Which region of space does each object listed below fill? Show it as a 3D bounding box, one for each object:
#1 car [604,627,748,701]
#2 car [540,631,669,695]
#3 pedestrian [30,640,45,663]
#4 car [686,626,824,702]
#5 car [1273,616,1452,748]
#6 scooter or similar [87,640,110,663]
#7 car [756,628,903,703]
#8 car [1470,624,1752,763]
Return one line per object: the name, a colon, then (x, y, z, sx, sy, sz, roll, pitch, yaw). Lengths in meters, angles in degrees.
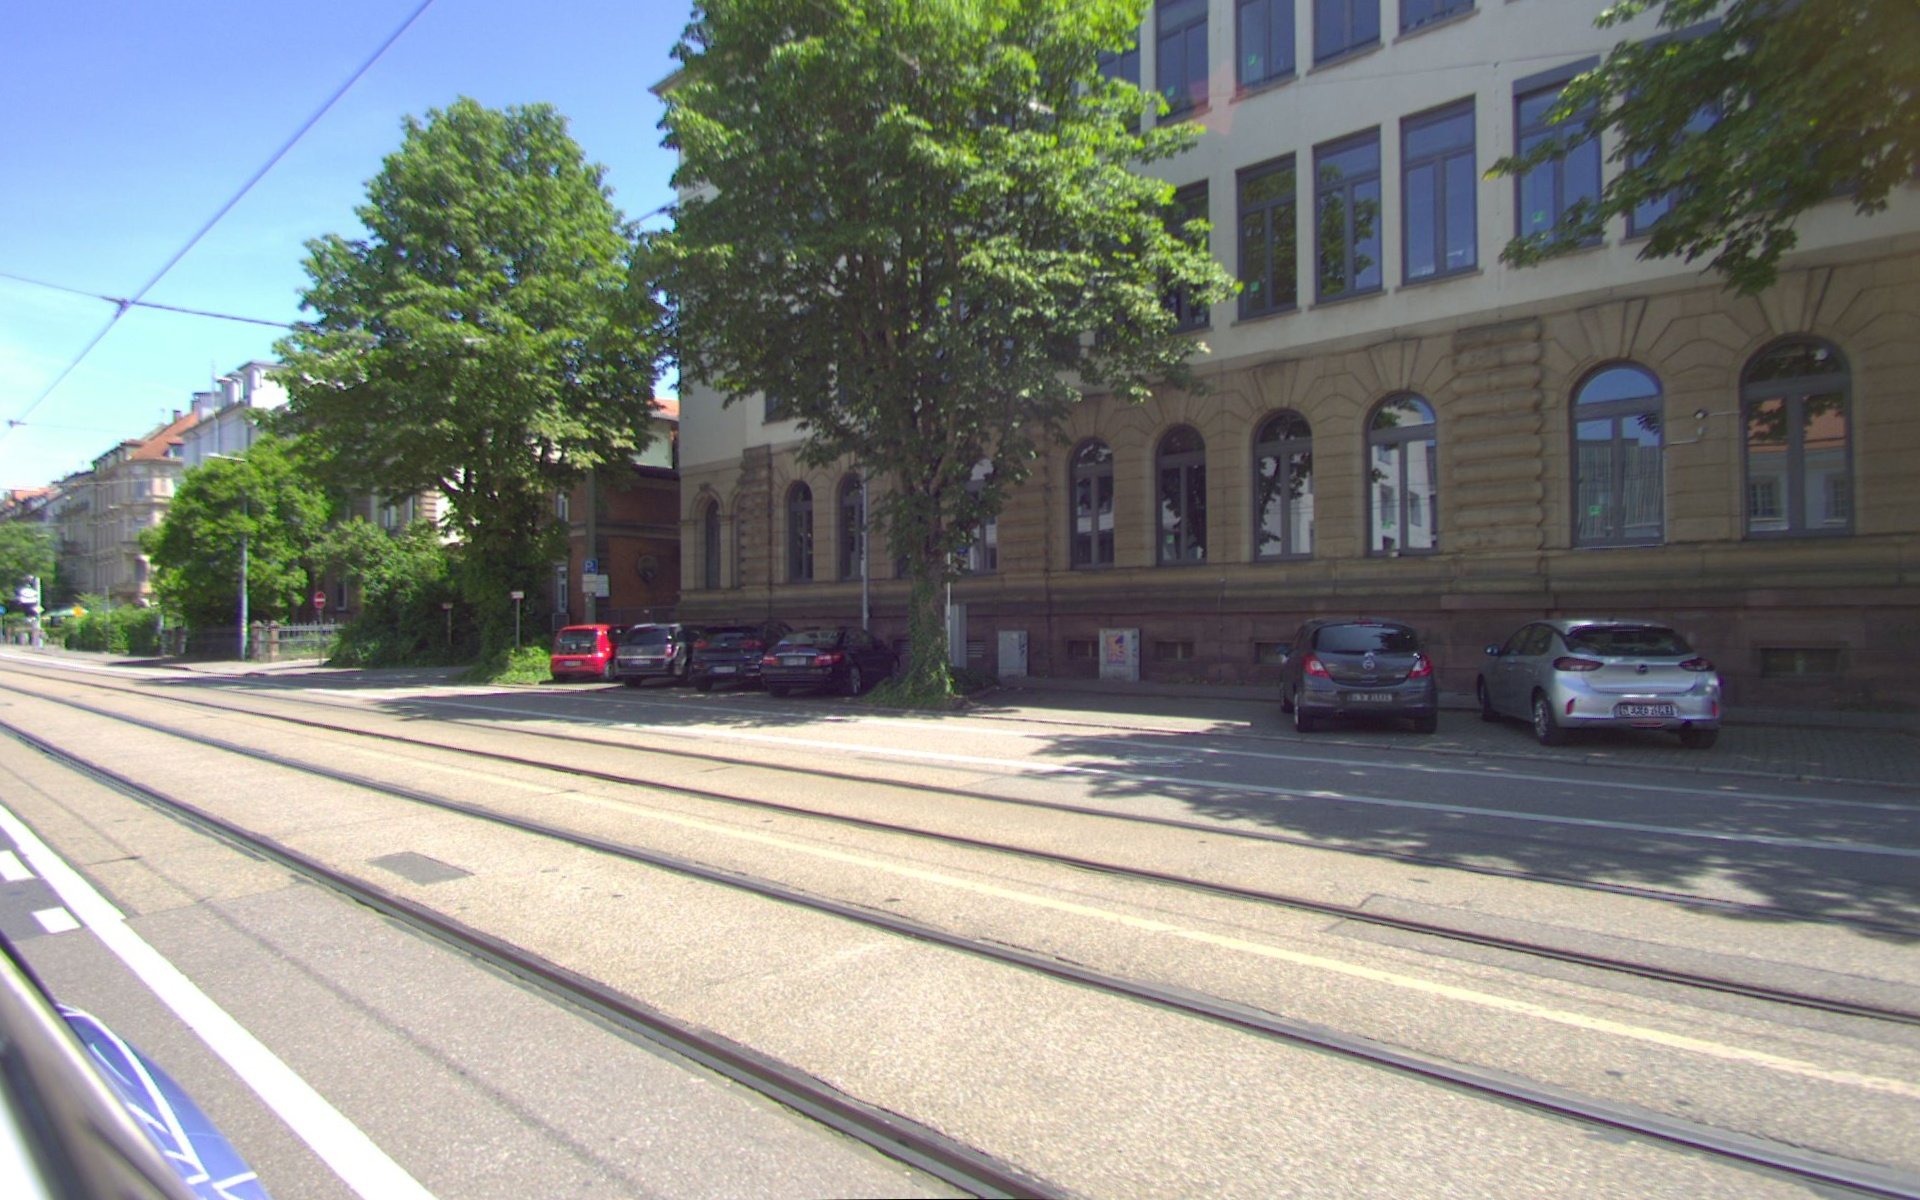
car: (-6.862, 1.506, 24.939, 1.652, 1.596, 4.307, -1, -1, 11)
car: (-9.347, 1.631, 26.859, 1.654, 1.527, 3.336, -2, -1, 15)
pedestrian: (-68.634, 3.842, 75.267, 0.939, 1.654, 0.732, -3, -3, 43)
car: (-4.580, 1.417, 23.133, 1.775, 1.589, 3.804, -1, -2, 11)
car: (5.368, 1.013, 13.926, 1.652, 1.531, 3.662, -1, -1, 12)
scooter or similar: (-54.221, 3.236, 63.702, 0.597, 1.462, 0.998, -2, -2, 40)
car: (-2.570, 1.319, 20.869, 1.654, 1.385, 3.914, -2, -3, 15)
car: (7.637, 1.018, 12.290, 1.685, 1.416, 3.535, -1, -2, 12)
